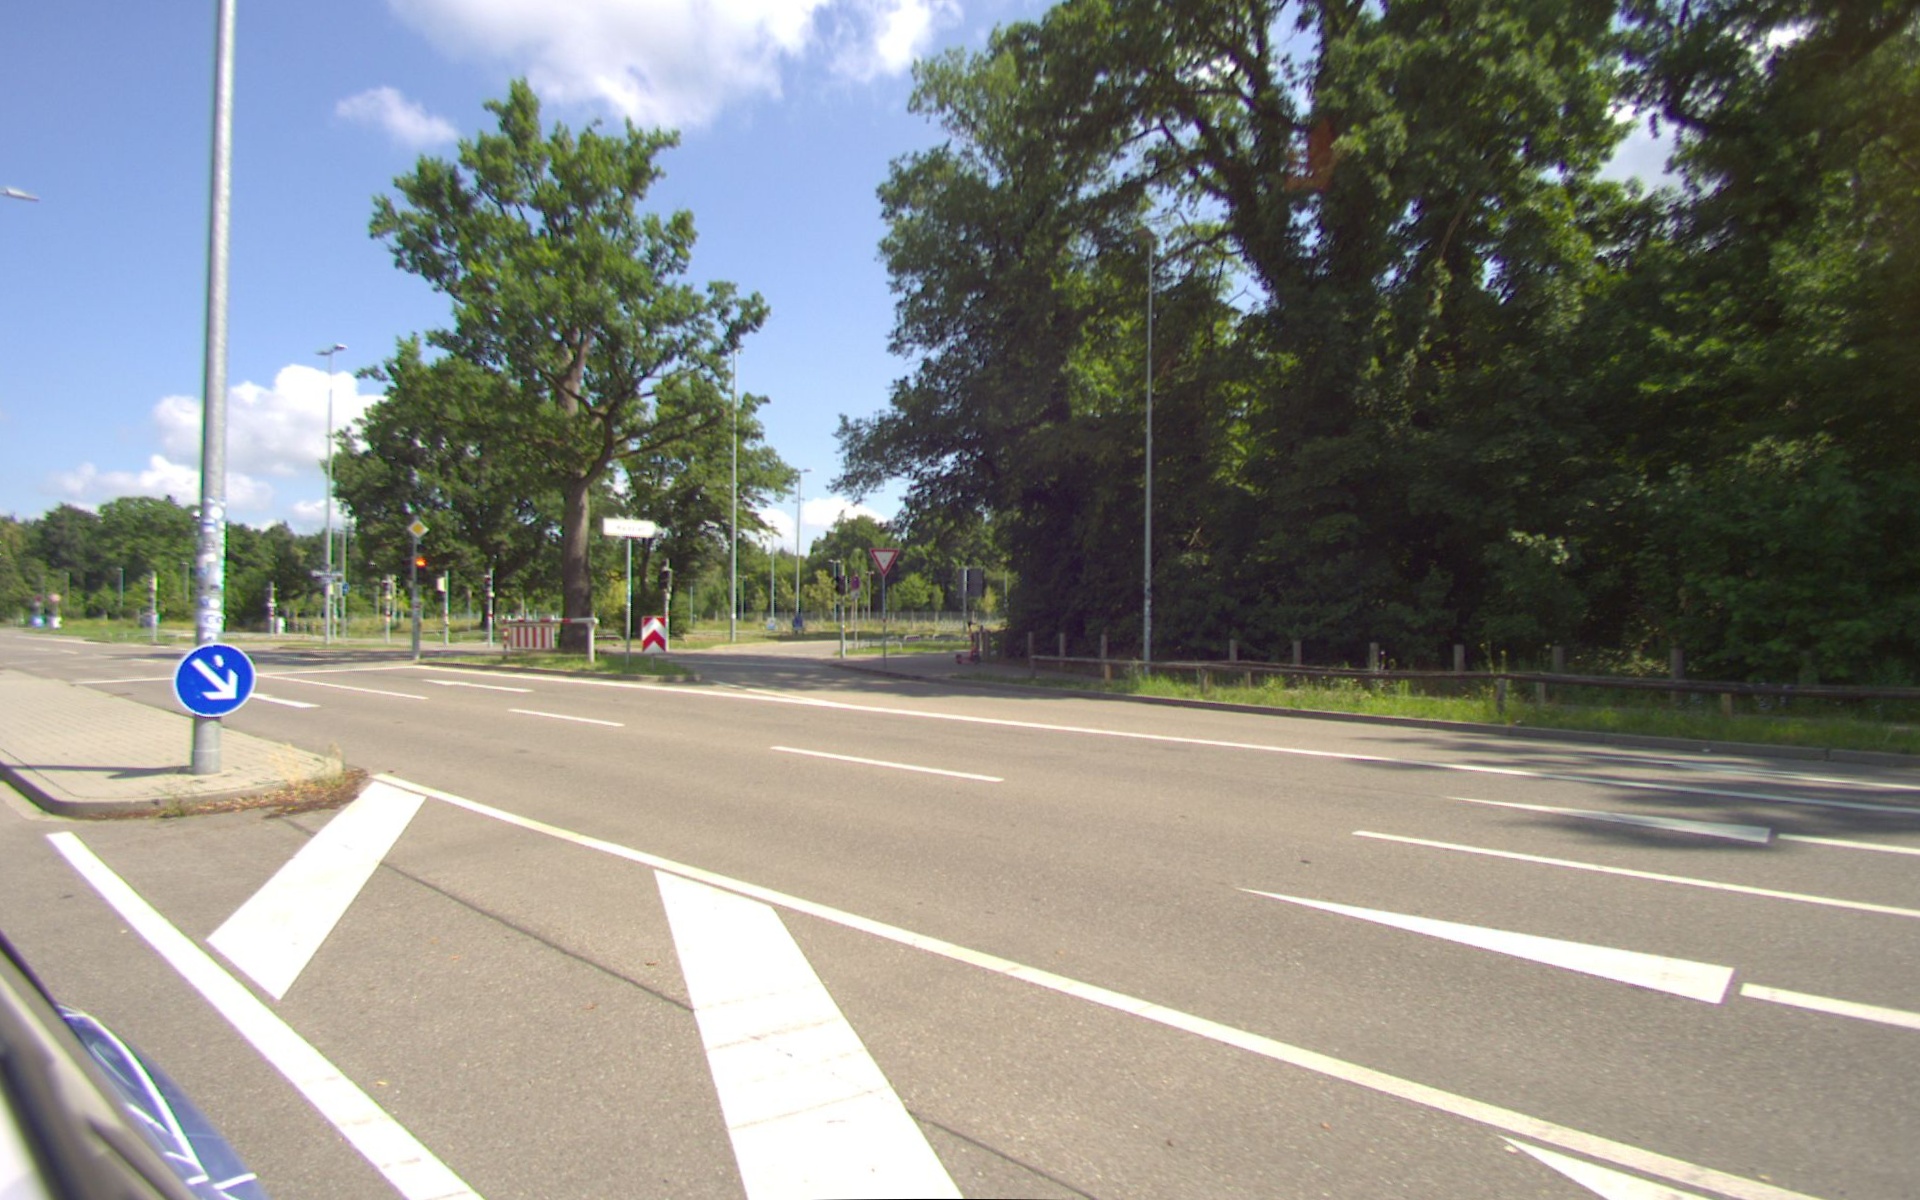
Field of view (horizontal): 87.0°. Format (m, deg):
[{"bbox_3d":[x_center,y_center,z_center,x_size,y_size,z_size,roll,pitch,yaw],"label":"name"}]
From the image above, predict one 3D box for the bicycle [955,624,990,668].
[{"bbox_3d":[0.339,1.266,28.281,0.414,1.182,1.233,0,0,-28],"label":"bicycle"}]
